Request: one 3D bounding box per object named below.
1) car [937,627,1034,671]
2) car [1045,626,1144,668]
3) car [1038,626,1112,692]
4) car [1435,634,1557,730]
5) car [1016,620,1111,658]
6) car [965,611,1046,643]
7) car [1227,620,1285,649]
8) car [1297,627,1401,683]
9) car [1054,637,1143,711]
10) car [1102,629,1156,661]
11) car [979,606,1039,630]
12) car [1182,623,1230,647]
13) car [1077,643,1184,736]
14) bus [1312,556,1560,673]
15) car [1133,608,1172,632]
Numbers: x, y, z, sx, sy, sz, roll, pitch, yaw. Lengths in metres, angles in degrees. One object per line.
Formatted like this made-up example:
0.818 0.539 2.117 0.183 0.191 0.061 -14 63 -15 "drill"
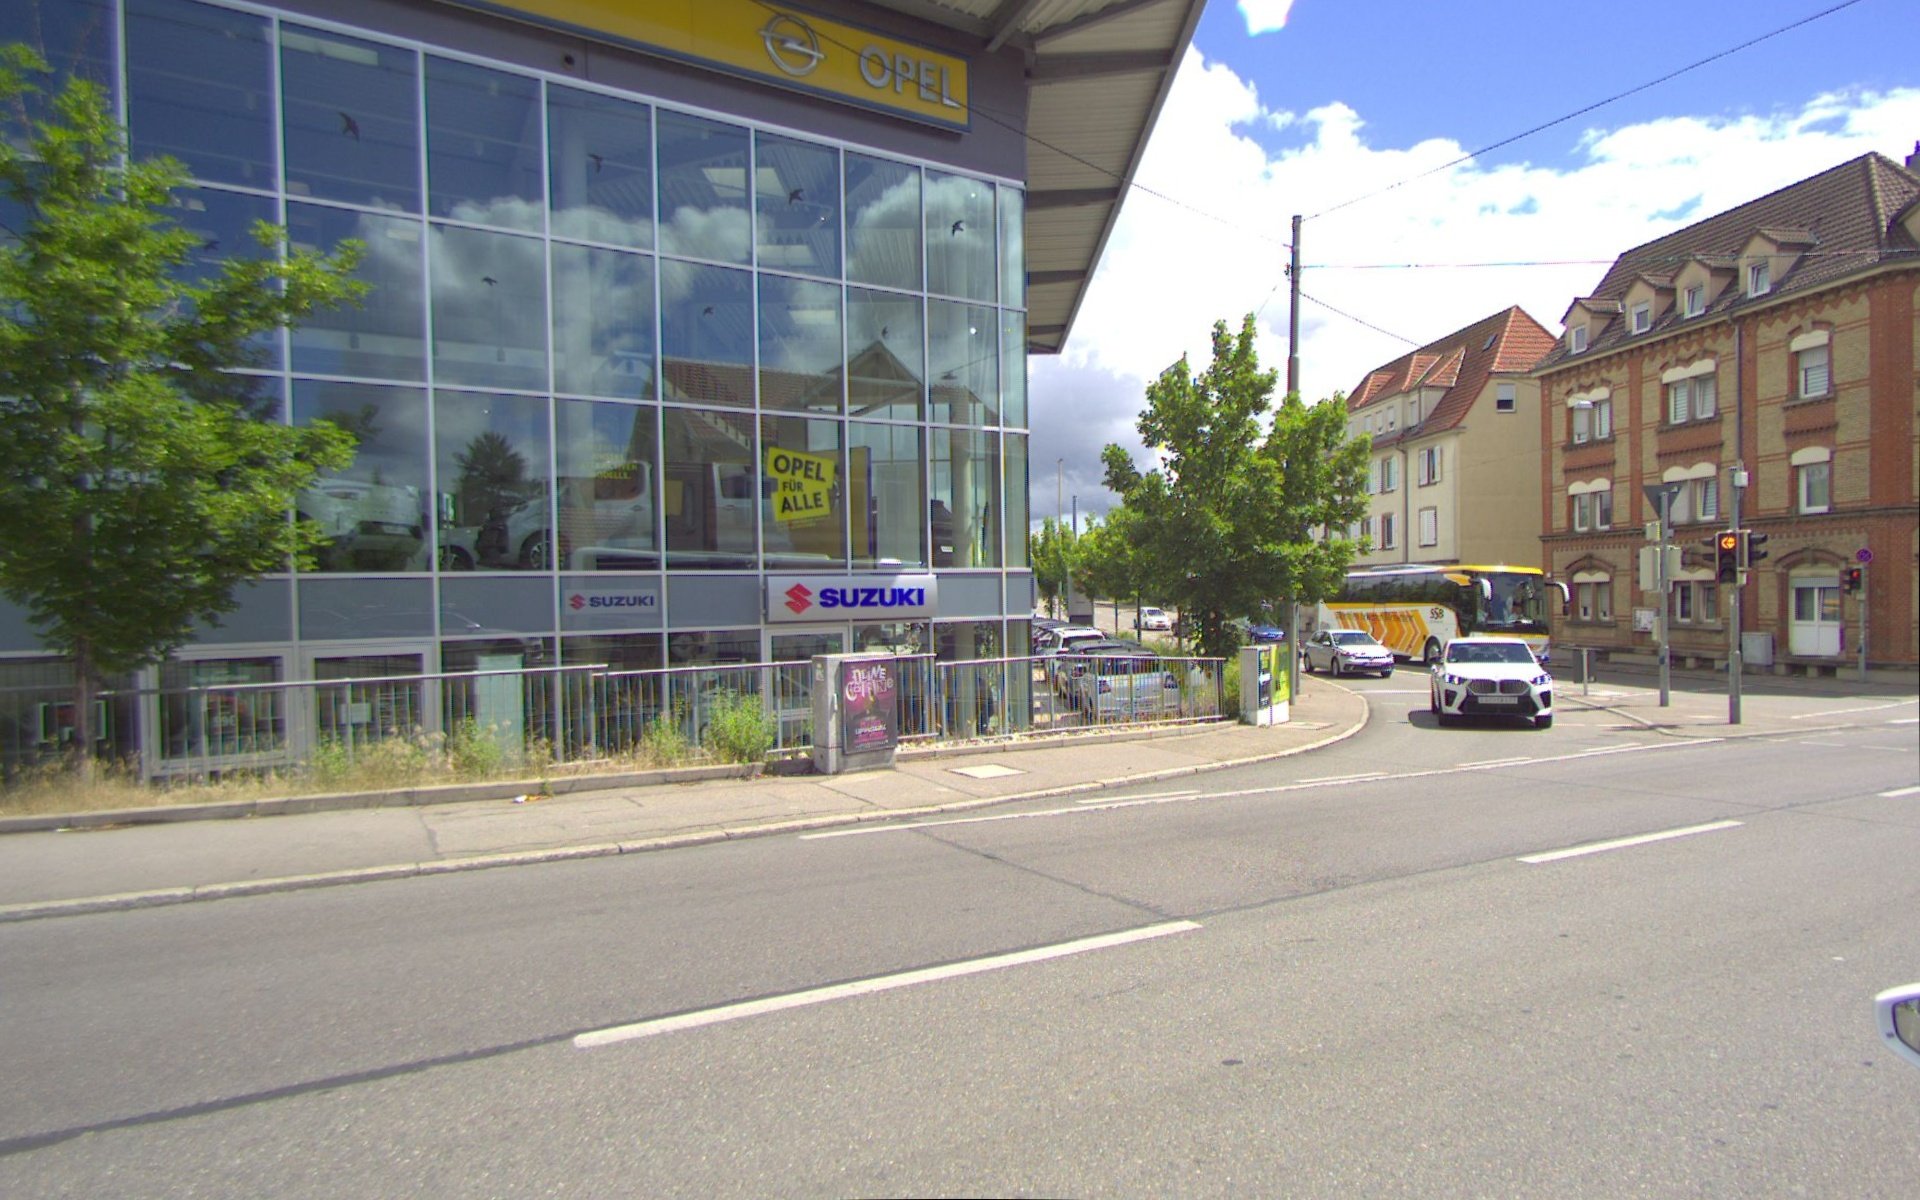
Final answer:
0.892 1.790 37.018 3.432 1.467 1.799 -1 0 -3 "car"
4.963 1.728 37.410 3.430 1.497 1.800 1 -1 1 "car"
3.278 1.662 29.173 1.620 1.703 3.499 -1 0 -2 "car"
10.061 1.456 19.075 1.799 1.572 4.302 -2 -2 26 "car"
4.598 1.730 44.987 3.925 1.574 1.806 1 -1 -7 "car"
2.363 1.413 52.788 3.930 1.574 1.804 1 -1 -12 "car"
15.592 1.788 53.164 1.717 1.428 3.999 1 -1 -3 "car"
12.348 1.708 32.123 1.847 1.437 3.620 -3 1 -1 "car"
3.317 1.750 24.630 1.584 1.547 3.499 -1 0 -2 "car"
8.122 2.156 48.605 1.766 1.467 3.498 1 -1 -5 "car"
3.259 1.209 67.500 3.922 1.574 1.807 1 -1 -1 "car"
15.354 2.177 62.783 1.874 1.428 3.999 1 -1 -2 "car"
3.368 1.736 20.365 1.648 1.582 3.365 -1 0 1 "car"
17.258 0.544 37.981 2.718 3.670 12.256 1 -1 -5 "bus"
13.637 1.426 71.504 1.874 1.574 3.999 1 -1 -2 "car"
